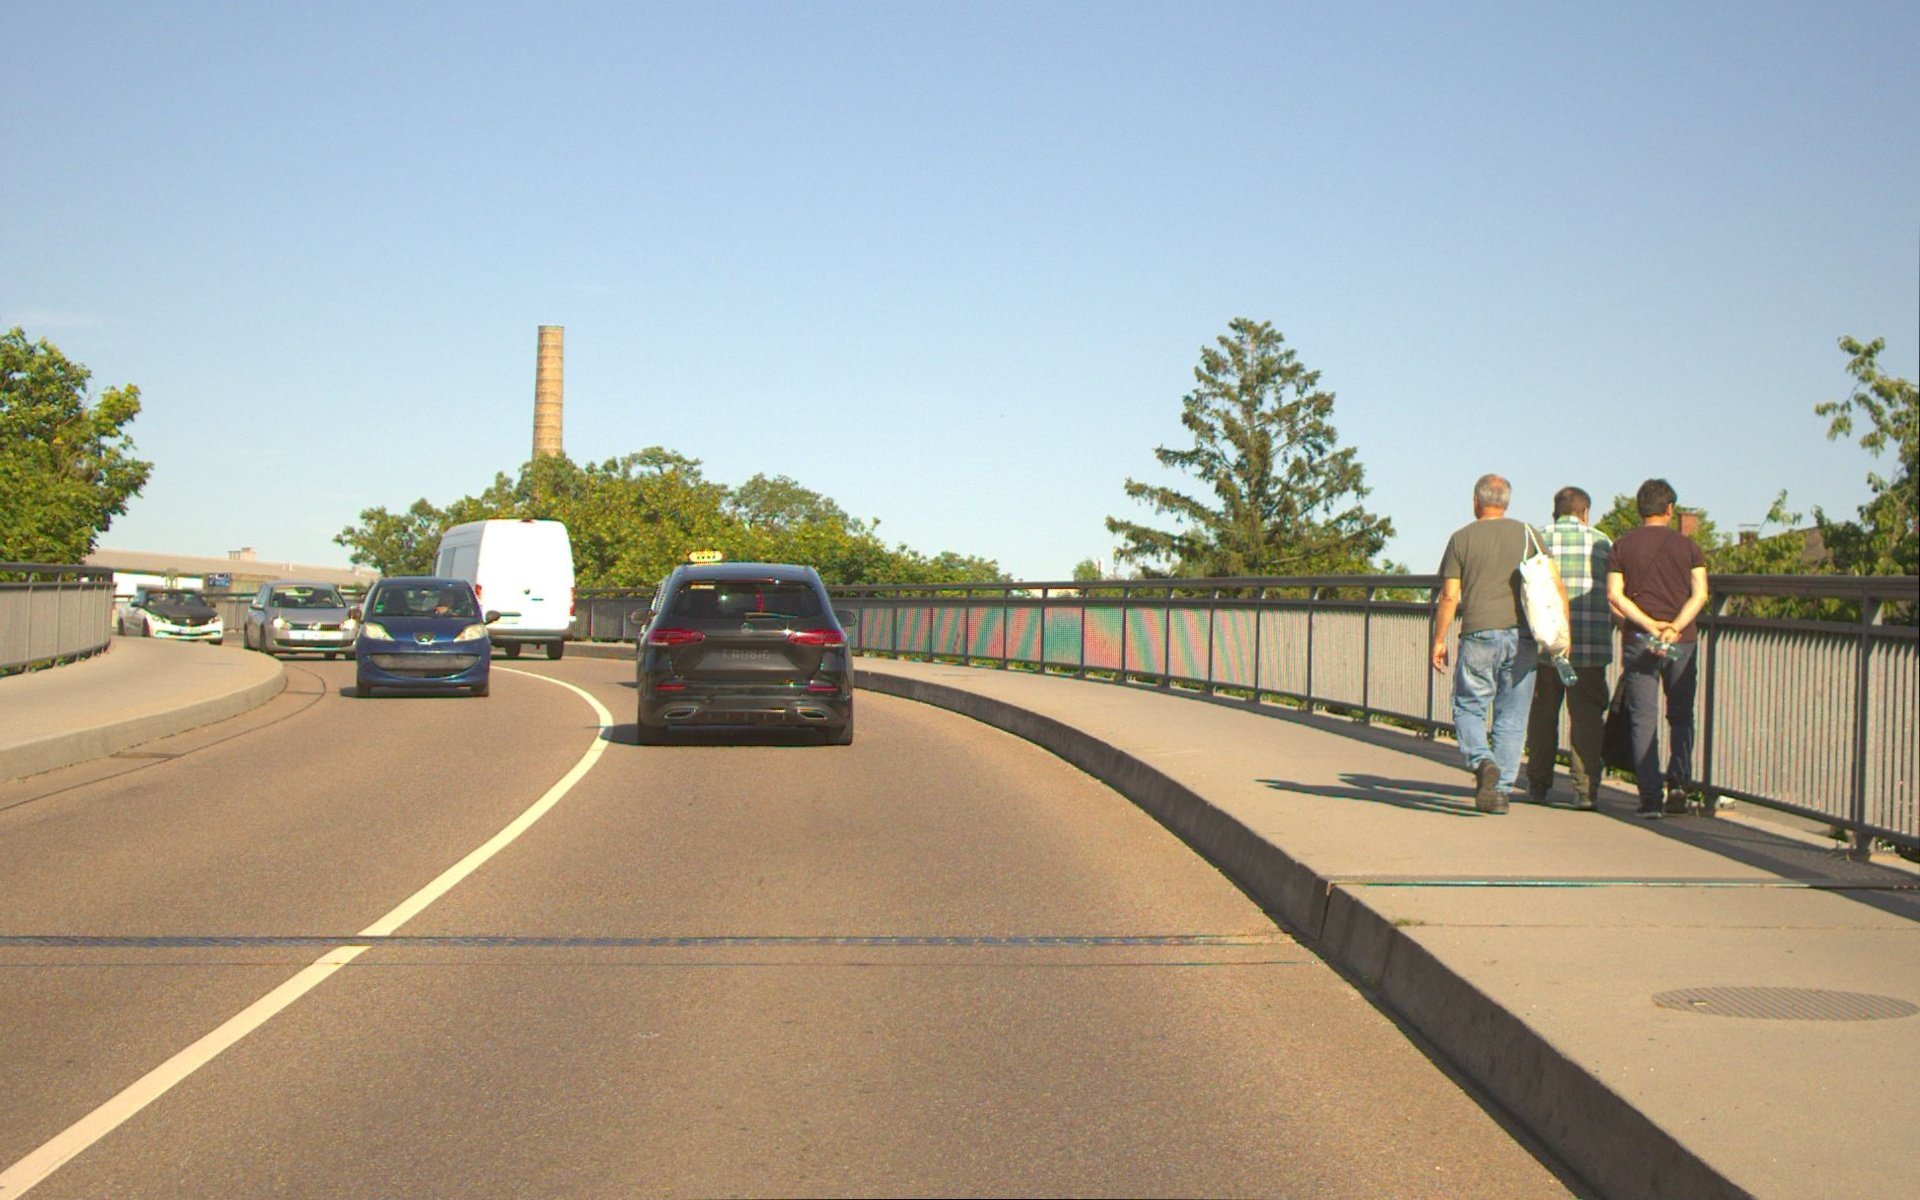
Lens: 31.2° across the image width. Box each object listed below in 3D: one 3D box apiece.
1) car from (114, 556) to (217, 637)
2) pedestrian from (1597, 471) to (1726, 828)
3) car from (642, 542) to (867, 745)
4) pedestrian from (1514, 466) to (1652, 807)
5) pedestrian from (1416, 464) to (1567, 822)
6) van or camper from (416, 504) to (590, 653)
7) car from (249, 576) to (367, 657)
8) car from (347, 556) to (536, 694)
[{"bbox_3d":[-19.357,-0.113,83.660,1.847,1.791,4.002,-1,3,-22],"label":"car"},{"bbox_3d":[3.509,0.249,17.222,0.471,1.744,0.654,2,-1,0],"label":"pedestrian"},{"bbox_3d":[-1.842,0.334,29.773,1.769,1.587,3.990,2,0,-5],"label":"car"},{"bbox_3d":[3.275,0.194,18.112,0.549,1.744,0.738,2,-1,0],"label":"pedestrian"},{"bbox_3d":[2.662,0.220,17.276,0.602,1.744,0.717,2,-1,0],"label":"pedestrian"},{"bbox_3d":[-9.096,-0.349,67.826,2.225,2.730,7.082,2,-1,-17],"label":"van or camper"},{"bbox_3d":[-12.345,0.335,64.953,1.867,1.441,4.001,2,-1,-15],"label":"car"},{"bbox_3d":[-6.385,0.272,42.714,1.769,1.587,3.989,2,1,-1],"label":"car"}]
